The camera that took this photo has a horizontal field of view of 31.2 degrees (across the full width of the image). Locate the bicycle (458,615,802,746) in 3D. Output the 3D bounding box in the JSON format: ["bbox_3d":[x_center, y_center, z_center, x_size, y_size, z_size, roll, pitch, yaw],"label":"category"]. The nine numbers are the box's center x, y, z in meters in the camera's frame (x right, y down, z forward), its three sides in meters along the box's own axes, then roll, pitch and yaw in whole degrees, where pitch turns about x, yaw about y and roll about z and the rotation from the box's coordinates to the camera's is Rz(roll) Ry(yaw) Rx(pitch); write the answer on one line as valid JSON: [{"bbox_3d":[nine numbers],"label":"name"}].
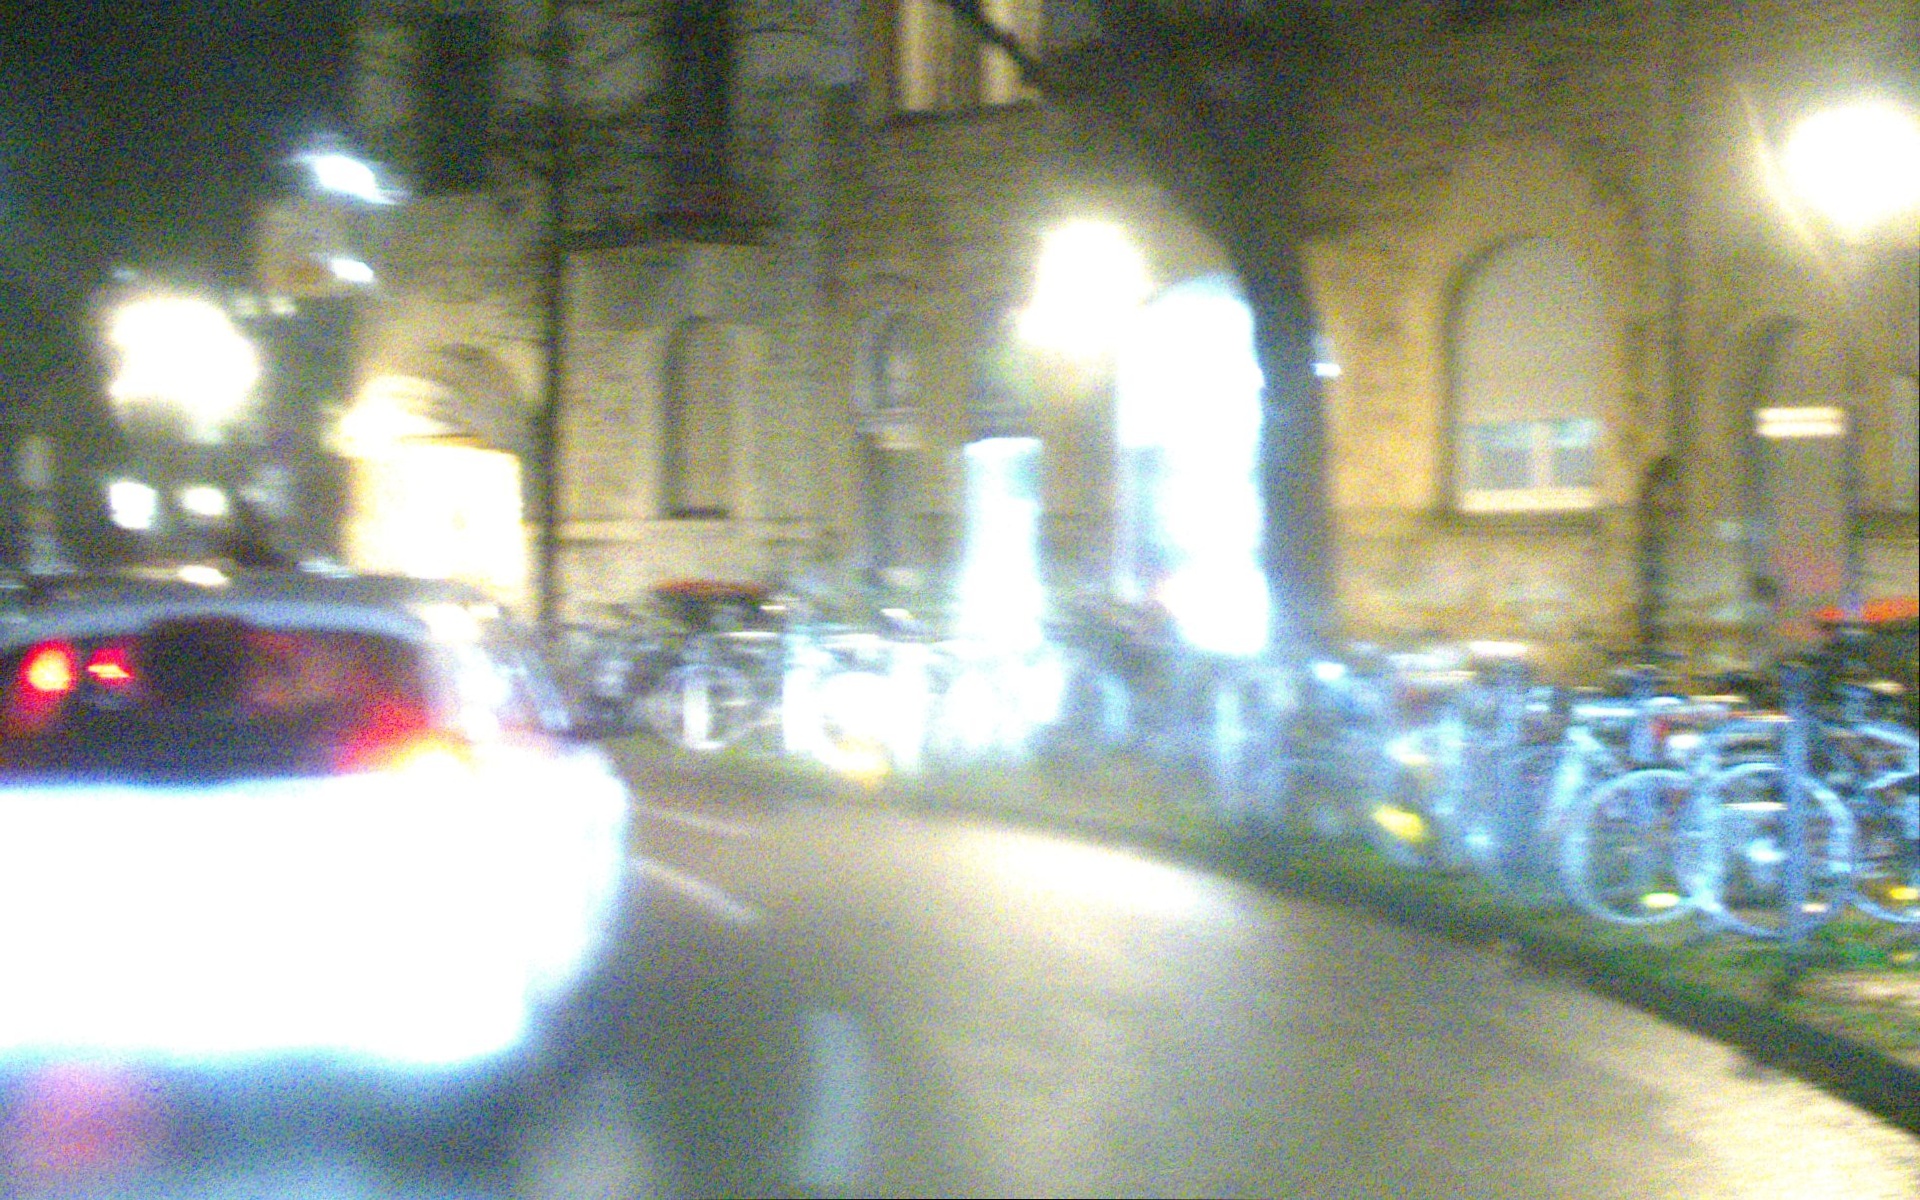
[{"bbox_3d":[-2.697,0.652,28.303,2.767,1.023,0.725,0,1,-31],"label":"bicycle"}]

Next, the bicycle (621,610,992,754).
[{"bbox_3d":[-1.136,0.606,25.909,2.767,1.023,0.725,0,1,-31],"label":"bicycle"}]

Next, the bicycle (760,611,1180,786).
[{"bbox_3d":[0.059,0.666,23.383,2.766,1.125,0.725,1,1,-8],"label":"bicycle"}]

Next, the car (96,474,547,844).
[{"bbox_3d":[-3.530,0.329,18.425,1.993,1.722,4.001,2,-1,-15],"label":"car"}]

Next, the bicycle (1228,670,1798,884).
[{"bbox_3d":[2.807,0.898,17.554,2.766,1.023,0.725,1,1,-8],"label":"bicycle"}]

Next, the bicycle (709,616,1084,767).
[{"bbox_3d":[-0.431,0.642,24.813,2.767,1.023,0.725,0,1,-36],"label":"bicycle"}]

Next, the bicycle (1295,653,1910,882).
[{"bbox_3d":[3.037,0.788,16.337,2.766,1.023,0.725,1,1,-8],"label":"bicycle"}]

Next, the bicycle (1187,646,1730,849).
[{"bbox_3d":[2.655,0.783,18.402,2.766,1.023,0.725,1,1,-8],"label":"bicycle"}]

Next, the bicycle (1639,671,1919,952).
[{"bbox_3d":[3.578,0.824,13.464,1.730,1.056,0.451,1,1,-3],"label":"bicycle"}]

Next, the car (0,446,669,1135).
[{"bbox_3d":[-1.931,0.486,9.933,1.731,1.608,3.461,1,-1,2],"label":"car"}]

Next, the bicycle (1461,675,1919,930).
[{"bbox_3d":[3.167,0.867,14.820,1.930,1.056,0.451,1,1,-8],"label":"bicycle"}]

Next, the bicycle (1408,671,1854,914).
[{"bbox_3d":[3.039,0.867,15.595,1.930,1.056,0.451,1,1,-8],"label":"bicycle"}]

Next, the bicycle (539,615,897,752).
[{"bbox_3d":[-1.888,0.646,27.109,2.767,1.023,0.725,0,1,-31],"label":"bicycle"}]
